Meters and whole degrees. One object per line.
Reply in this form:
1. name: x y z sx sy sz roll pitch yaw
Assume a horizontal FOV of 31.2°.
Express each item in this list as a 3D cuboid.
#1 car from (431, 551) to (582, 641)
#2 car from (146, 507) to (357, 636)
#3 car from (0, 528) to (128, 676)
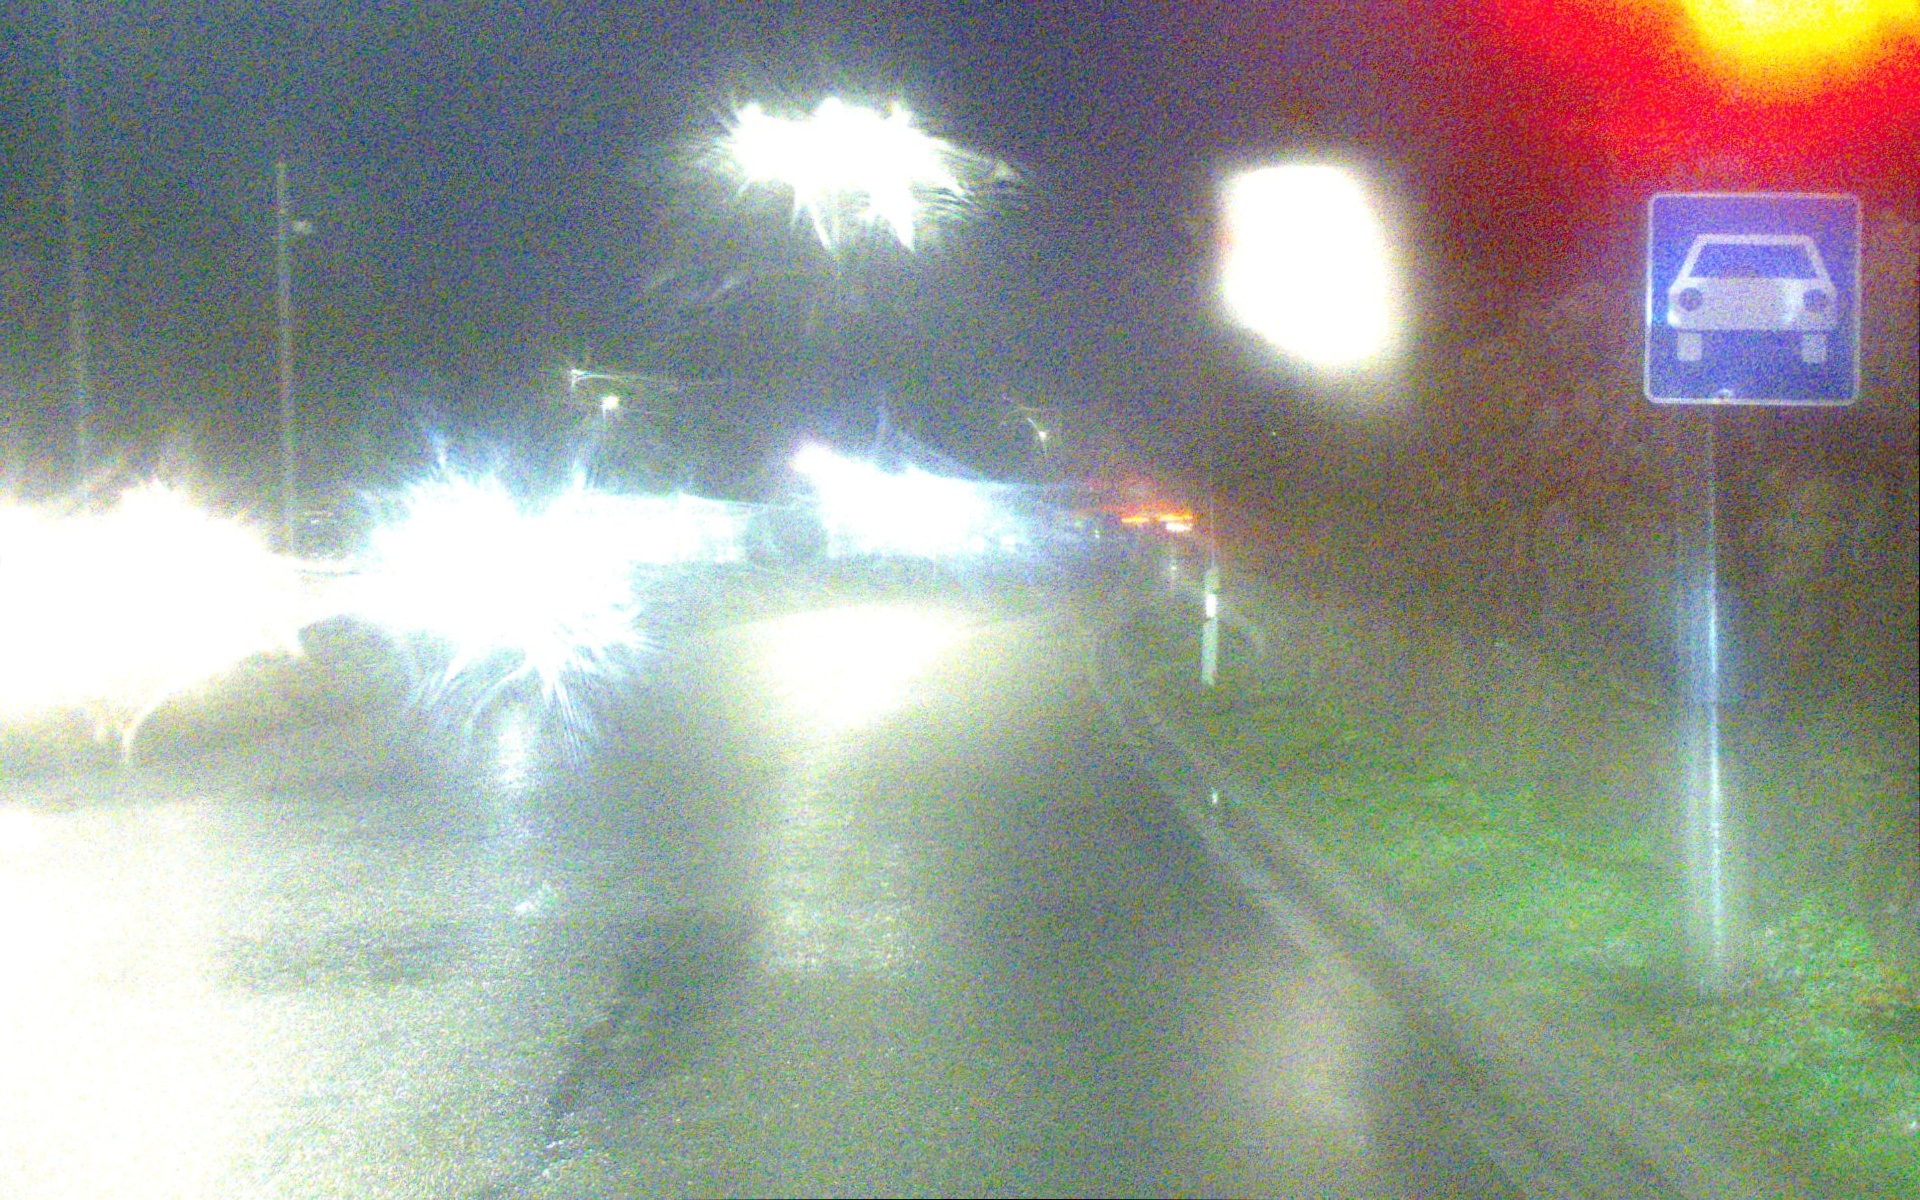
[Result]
1. car: -7.913 -0.072 60.367 1.708 1.529 4.599 0 0 5
2. car: -9.677 -0.389 47.247 1.718 1.697 4.142 0 0 5
3. car: -10.377 0.020 37.367 1.585 1.520 3.651 0 0 3
